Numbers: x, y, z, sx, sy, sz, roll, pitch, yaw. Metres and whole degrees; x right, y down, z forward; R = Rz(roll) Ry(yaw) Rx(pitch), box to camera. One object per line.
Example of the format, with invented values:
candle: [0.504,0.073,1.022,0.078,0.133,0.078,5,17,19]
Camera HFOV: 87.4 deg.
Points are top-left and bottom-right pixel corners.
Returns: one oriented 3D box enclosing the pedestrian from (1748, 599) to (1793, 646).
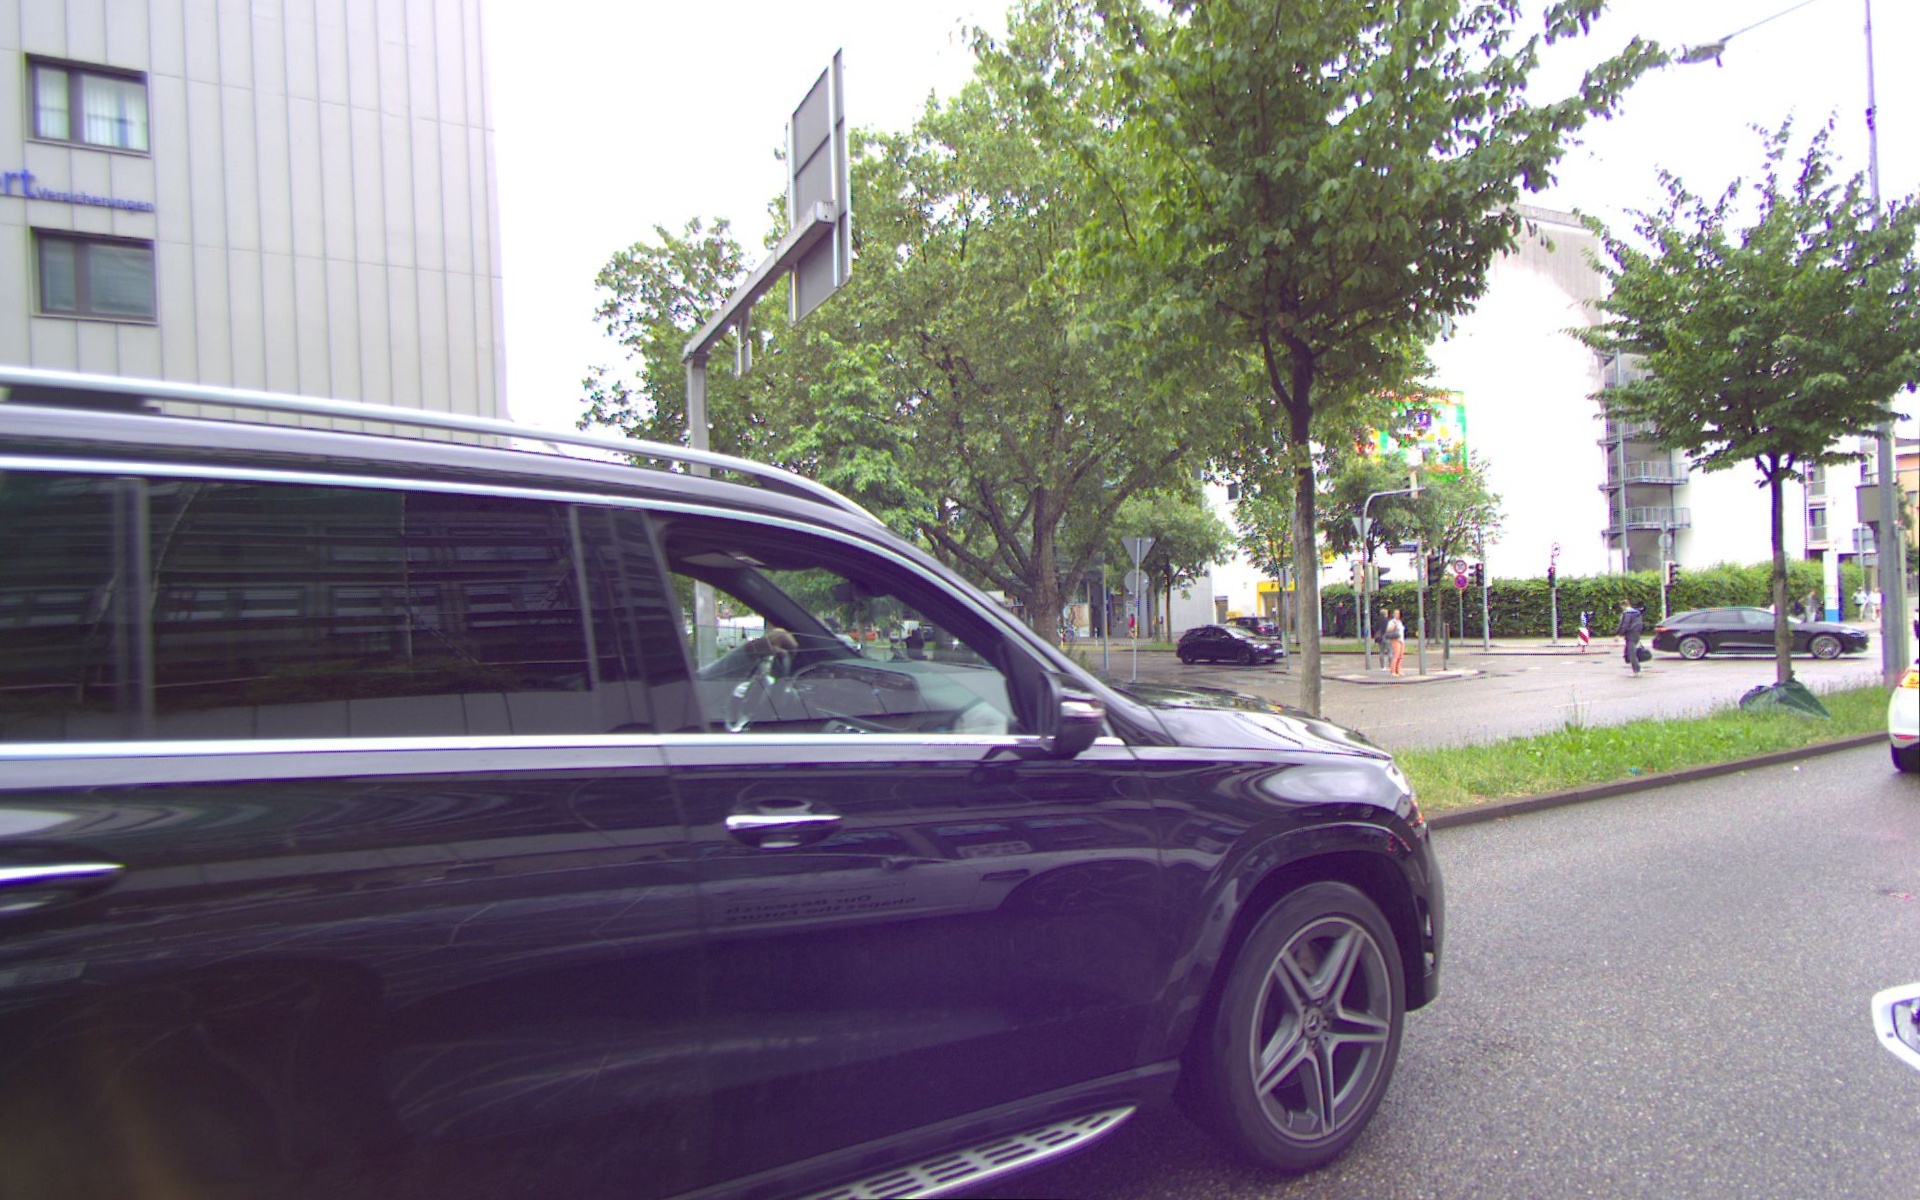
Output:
pedestrian: [28.411,0.791,35.207,0.677,1.599,1.055,2,0,-34]

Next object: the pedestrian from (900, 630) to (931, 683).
pedestrian: [-1.473,1.877,33.303,0.719,1.719,0.782,2,-3,-35]

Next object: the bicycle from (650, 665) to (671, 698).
bicycle: [-9.919,2.681,33.226,0.512,0.918,2.064,2,-1,-20]

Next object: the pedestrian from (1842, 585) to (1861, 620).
pedestrian: [45.595,0.123,51.370,0.651,1.751,0.591,2,0,-38]

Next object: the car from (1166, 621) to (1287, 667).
car: [9.857,1.613,37.392,1.691,1.586,4.193,0,-2,-40]

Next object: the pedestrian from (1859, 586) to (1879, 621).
pedestrian: [46.199,0.187,51.051,0.651,1.751,0.591,2,0,-38]

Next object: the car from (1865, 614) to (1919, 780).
car: [10.282,0.870,9.428,3.801,1.448,1.767,0,0,-33]

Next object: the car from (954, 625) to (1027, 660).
car: [1.451,2.050,49.334,1.618,1.506,4.273,0,1,-29]

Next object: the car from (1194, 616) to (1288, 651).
car: [13.412,1.633,48.141,1.778,1.474,4.019,-2,-2,-39]

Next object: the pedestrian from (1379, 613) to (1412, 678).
pedestrian: [11.634,1.198,26.816,0.572,1.684,0.554,-2,0,-30]

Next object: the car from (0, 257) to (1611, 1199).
car: [-0.679,0.561,2.632,5.013,1.895,1.902,2,-1,-30]

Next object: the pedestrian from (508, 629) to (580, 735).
pedestrian: [-7.026,1.367,16.961,0.954,1.702,0.703,2,0,-33]

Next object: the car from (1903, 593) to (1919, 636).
car: [35.516,0.498,36.111,3.571,1.506,1.565,0,1,-33]

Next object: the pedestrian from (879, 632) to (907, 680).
pedestrian: [-2.399,2.013,36.111,0.780,1.719,0.721,1,-2,-26]

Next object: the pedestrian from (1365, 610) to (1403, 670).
pedestrian: [12.300,1.143,29.142,0.620,1.684,0.749,-2,0,-30]

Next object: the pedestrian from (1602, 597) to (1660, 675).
pedestrian: [15.998,0.856,23.962,0.702,1.807,0.917,2,0,-35]

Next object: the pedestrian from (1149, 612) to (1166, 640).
pedestrian: [11.968,1.562,60.860,0.630,1.664,0.729,2,0,-24]

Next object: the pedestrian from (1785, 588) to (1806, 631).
pedestrian: [35.431,0.402,42.602,0.741,1.771,0.535,2,0,-38]

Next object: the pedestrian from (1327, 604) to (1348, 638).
pedestrian: [19.108,1.068,50.796,0.633,1.664,0.726,2,0,-37]

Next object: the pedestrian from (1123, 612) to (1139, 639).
pedestrian: [10.789,1.635,63.511,0.723,1.664,0.635,2,0,-24]

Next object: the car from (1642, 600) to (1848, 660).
car: [22.146,0.873,28.479,4.442,1.474,1.784,-4,-2,41]

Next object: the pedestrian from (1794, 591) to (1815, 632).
pedestrian: [36.709,0.485,43.664,0.559,1.771,0.535,2,0,-35]
